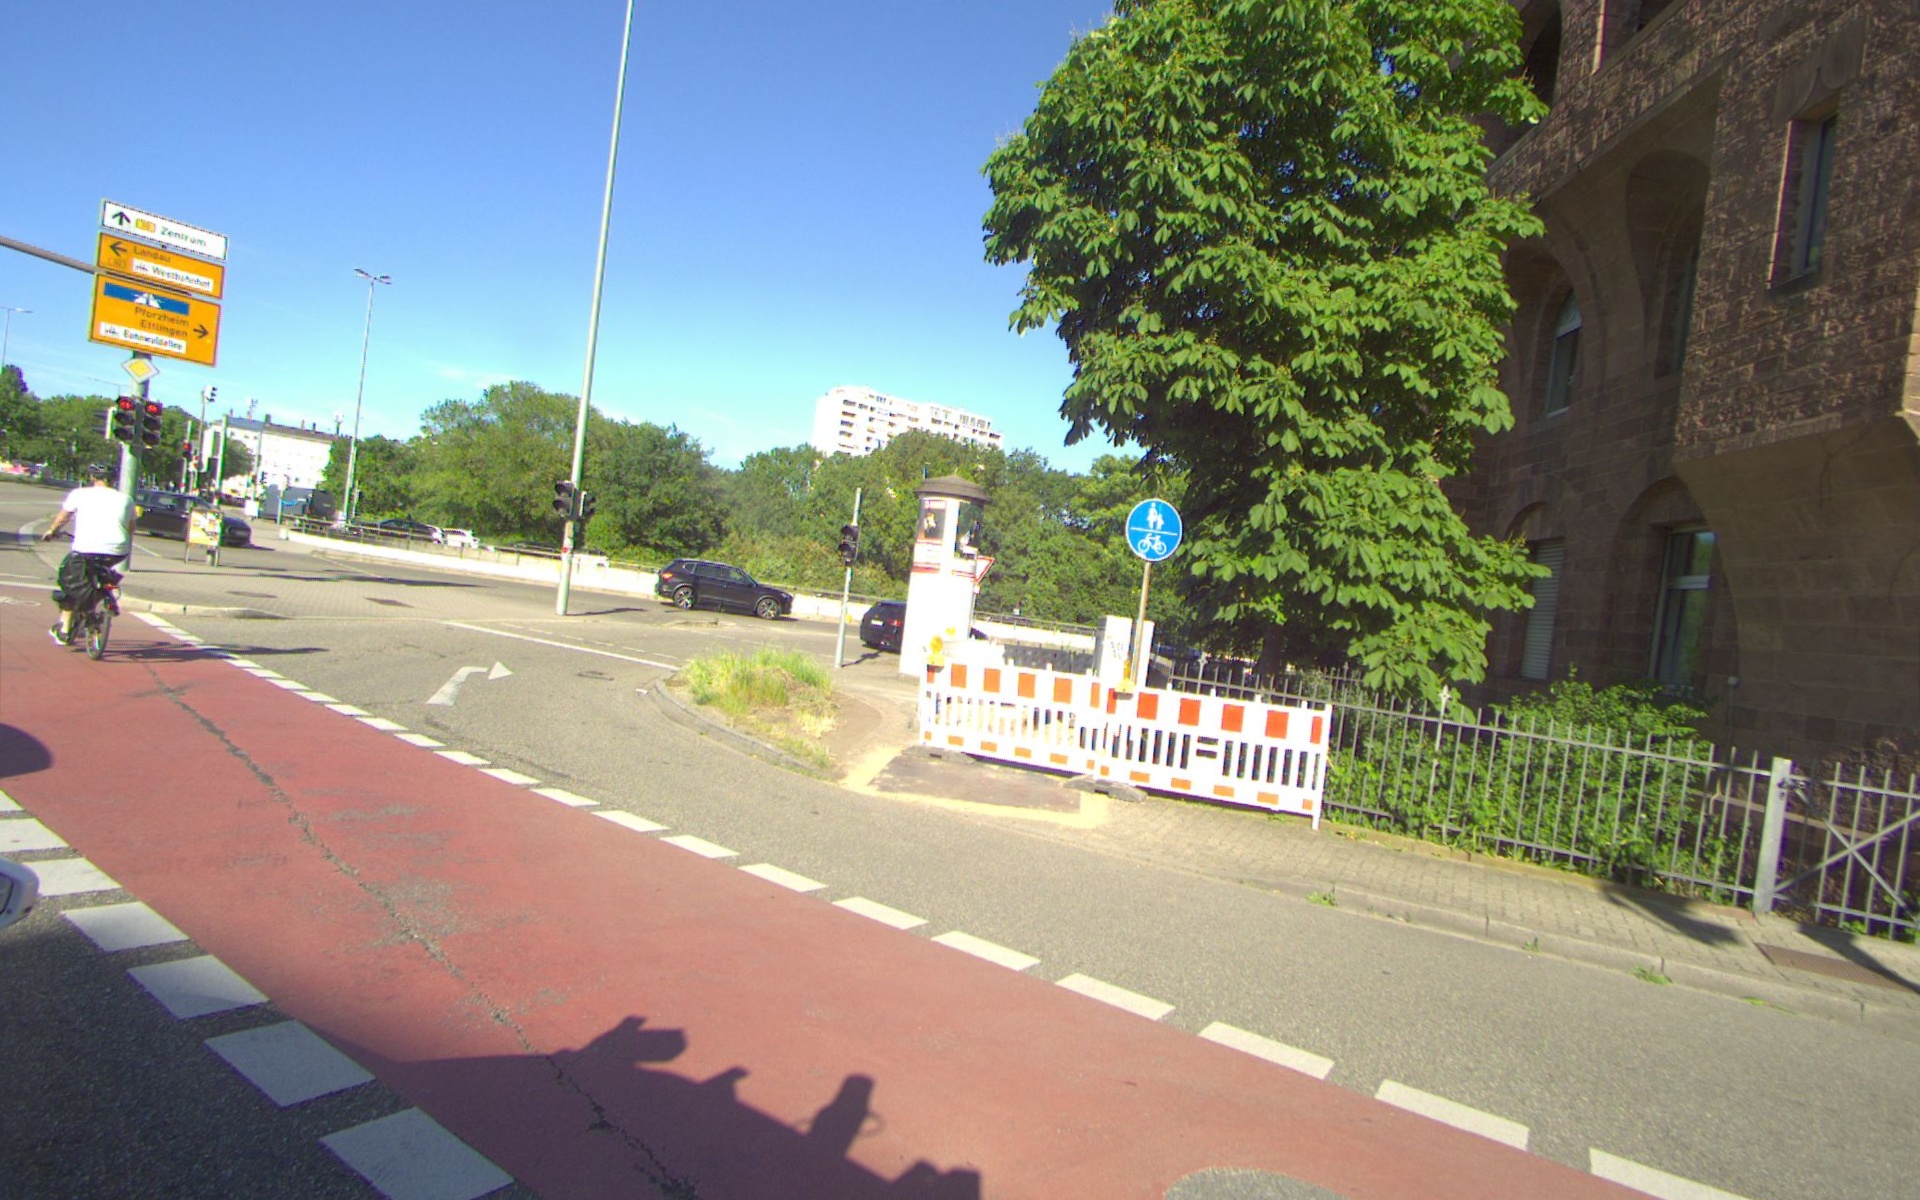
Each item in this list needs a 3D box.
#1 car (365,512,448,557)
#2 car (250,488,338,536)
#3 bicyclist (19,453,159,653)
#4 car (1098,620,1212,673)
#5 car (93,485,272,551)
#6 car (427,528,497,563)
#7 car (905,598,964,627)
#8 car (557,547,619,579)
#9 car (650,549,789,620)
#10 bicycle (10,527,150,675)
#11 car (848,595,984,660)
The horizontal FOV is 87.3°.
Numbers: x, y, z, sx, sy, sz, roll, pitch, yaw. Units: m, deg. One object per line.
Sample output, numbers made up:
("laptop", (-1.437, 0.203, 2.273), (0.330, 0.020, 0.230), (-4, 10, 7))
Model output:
("car", (-33.550, -3.941, 61.083), (3.943, 2.037, 1.992), (7, -2, -20))
("car", (-46.228, -6.122, 69.876), (4.793, 2.638, 2.264), (6, -1, 14))
("bicyclist", (-8.324, -0.447, 9.648), (0.796, 1.725, 1.073), (8, 0, -40))
("car", (7.949, 1.893, 41.034), (4.044, 1.602, 1.818), (7, 1, -19))
("car", (-24.028, -2.504, 31.192), (3.925, 1.472, 1.999), (6, 1, 1))
("car", (-34.065, -3.687, 68.908), (3.943, 1.770, 1.992), (7, -2, -20))
("car", (-2.067, 0.983, 80.984), (4.204, 1.876, 2.010), (7, -2, -23))
("car", (-26.258, -2.581, 71.120), (3.943, 1.703, 1.849), (7, -2, -20))
("car", (-8.245, -0.478, 34.390), (4.298, 1.857, 1.992), (7, -2, -20))
("bicycle", (-8.322, -0.039, 9.578), (0.796, 1.124, 2.374), (9, -1, -40))
("car", (-1.228, 0.851, 29.866), (1.730, 1.513, 3.984), (9, 2, 38))
